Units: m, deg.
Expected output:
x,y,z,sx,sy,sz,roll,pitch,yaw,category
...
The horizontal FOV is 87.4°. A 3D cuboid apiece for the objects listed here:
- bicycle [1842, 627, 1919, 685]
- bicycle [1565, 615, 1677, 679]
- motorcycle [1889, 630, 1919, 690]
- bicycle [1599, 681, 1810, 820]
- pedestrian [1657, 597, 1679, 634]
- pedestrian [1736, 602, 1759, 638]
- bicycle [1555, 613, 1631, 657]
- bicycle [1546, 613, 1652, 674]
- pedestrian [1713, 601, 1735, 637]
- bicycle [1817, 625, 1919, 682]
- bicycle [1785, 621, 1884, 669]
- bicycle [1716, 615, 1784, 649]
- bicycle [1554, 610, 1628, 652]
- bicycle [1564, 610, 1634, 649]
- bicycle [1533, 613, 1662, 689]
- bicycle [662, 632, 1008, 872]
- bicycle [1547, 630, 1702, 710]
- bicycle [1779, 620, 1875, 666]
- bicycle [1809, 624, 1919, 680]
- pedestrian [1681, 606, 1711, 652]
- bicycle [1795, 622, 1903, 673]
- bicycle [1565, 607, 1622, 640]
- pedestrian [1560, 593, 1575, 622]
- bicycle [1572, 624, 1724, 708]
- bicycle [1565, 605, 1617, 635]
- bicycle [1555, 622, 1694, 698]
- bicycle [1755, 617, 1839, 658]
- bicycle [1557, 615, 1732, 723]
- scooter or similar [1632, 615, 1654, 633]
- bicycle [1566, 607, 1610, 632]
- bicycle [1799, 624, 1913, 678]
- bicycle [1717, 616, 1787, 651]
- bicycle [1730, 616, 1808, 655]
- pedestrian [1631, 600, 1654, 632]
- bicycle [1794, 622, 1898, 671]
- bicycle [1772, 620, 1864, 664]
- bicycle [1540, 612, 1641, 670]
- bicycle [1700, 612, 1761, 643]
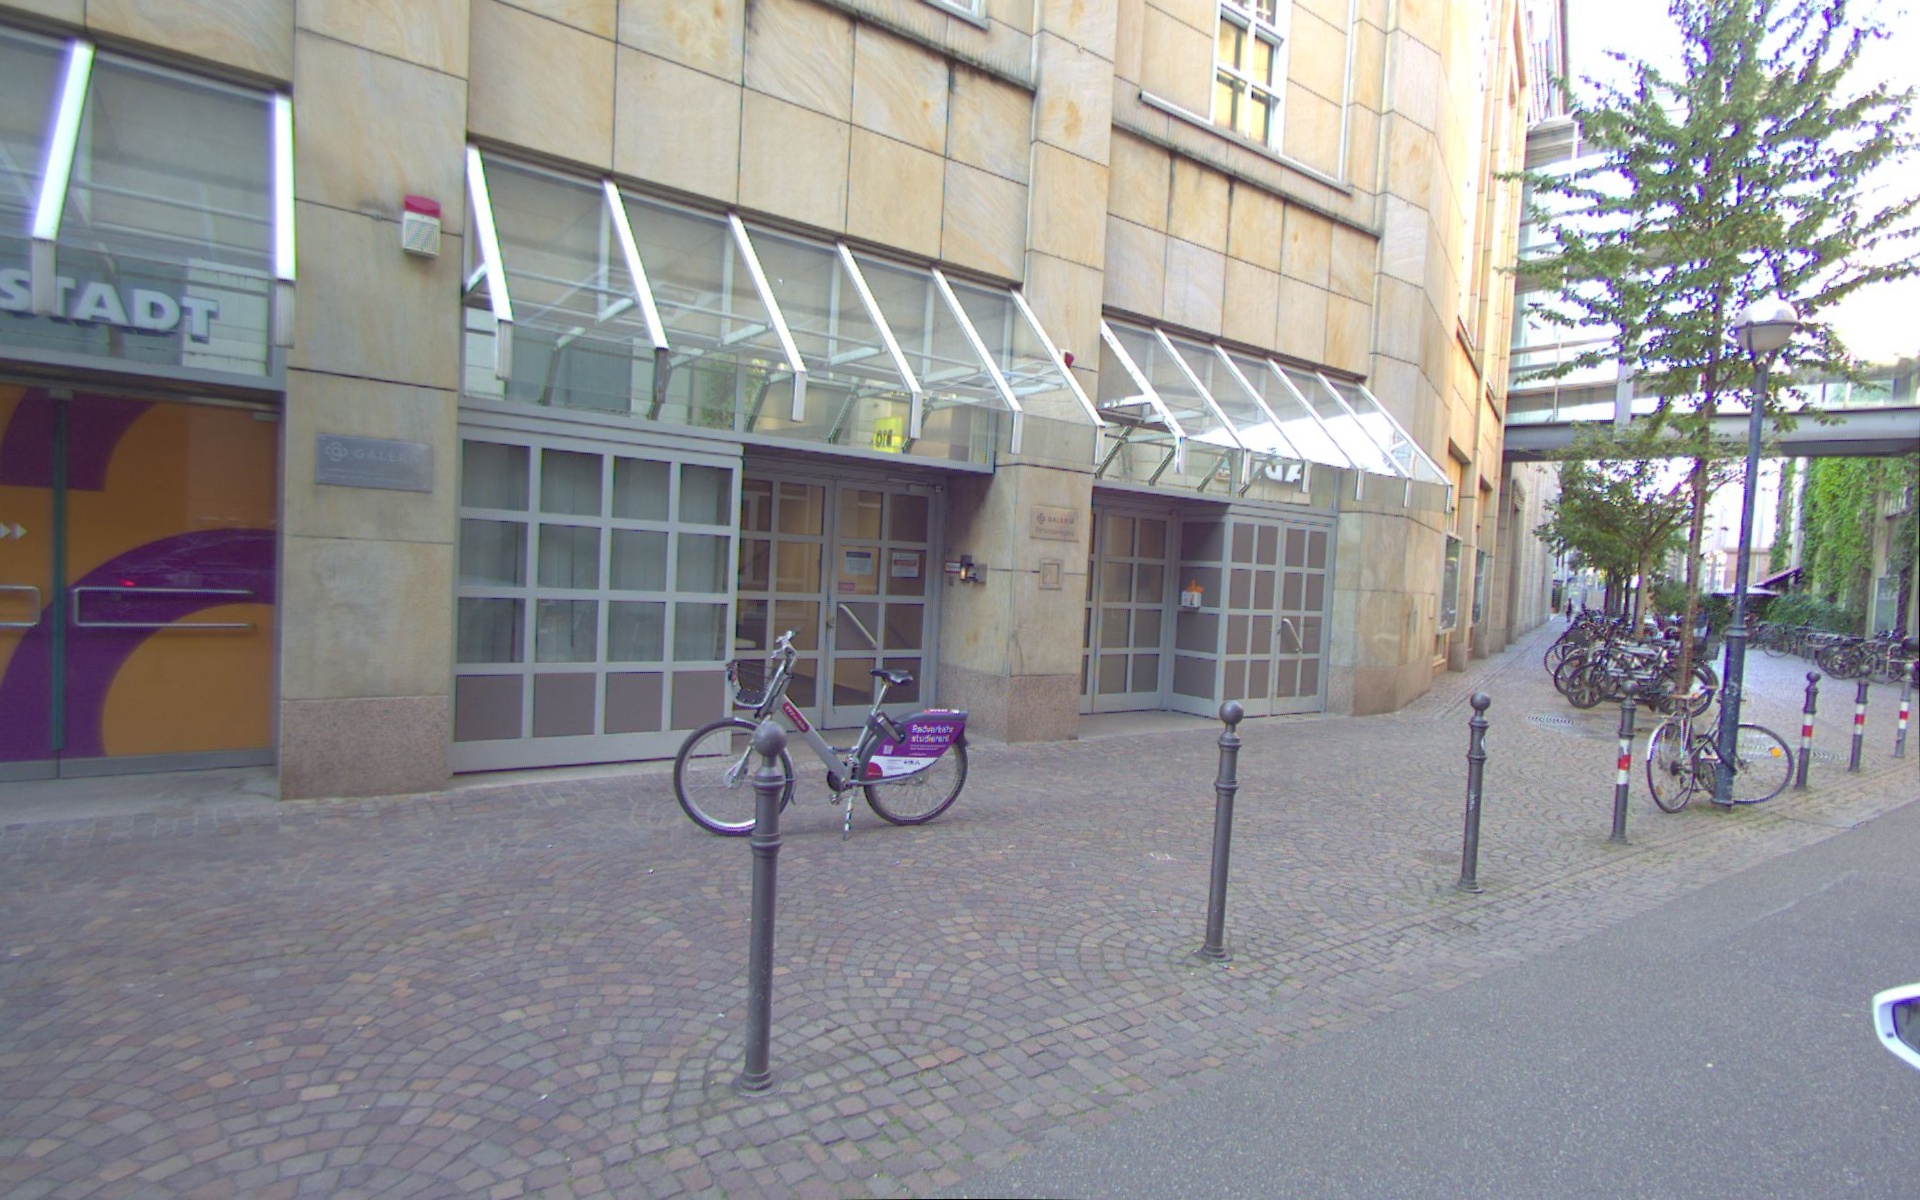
x,y,z,sx,sy,sz,roll,pitch,yaw,category
20.583,1.222,21.872,1.967,1.198,0.694,2,1,35,bicycle
13.994,0.968,21.288,1.889,1.198,0.693,4,2,37,bicycle
19.816,1.224,20.092,1.724,1.171,0.592,2,1,37,motorcycle
5.911,1.156,7.963,1.670,0.979,0.504,2,2,-22,bicycle
36.162,0.796,51.315,0.754,1.828,0.775,3,2,32,pedestrian
40.961,1.045,52.224,0.763,1.828,0.766,3,2,31,pedestrian
19.479,1.065,30.939,1.889,1.198,0.693,4,2,37,bicycle
14.166,0.946,22.305,1.889,1.198,0.693,4,2,37,bicycle
40.346,1.007,53.027,0.763,1.828,0.766,3,2,31,pedestrian
20.891,1.206,22.904,1.967,1.198,0.694,2,1,35,bicycle
23.989,1.223,27.606,1.967,1.198,0.692,2,1,35,bicycle
30.027,1.217,38.198,1.967,1.198,0.692,2,1,35,bicycle
19.913,0.964,31.710,1.889,1.198,0.693,4,2,37,bicycle
21.673,0.990,34.082,1.889,1.198,0.693,4,2,37,bicycle
11.612,0.901,18.331,1.889,1.198,0.693,4,2,37,bicycle
-0.690,0.778,5.525,1.750,1.127,0.692,2,2,-22,bicycle
10.094,1.040,15.331,1.887,1.007,0.694,4,2,34,bicycle
24.744,1.207,28.714,1.967,1.198,0.692,2,1,35,bicycle
21.393,1.204,23.704,1.967,1.198,0.800,2,1,35,bicycle
25.637,0.993,35.001,0.737,1.529,0.636,3,2,32,pedestrian
22.926,1.209,25.966,1.967,1.198,0.800,2,1,35,bicycle
26.061,0.950,41.338,1.889,1.198,0.693,4,2,37,bicycle
39.802,0.470,65.793,0.763,1.828,0.633,3,2,31,pedestrian
10.824,1.011,15.876,1.887,1.116,0.694,4,2,34,bicycle
28.198,0.885,44.888,1.889,1.198,0.693,4,2,37,bicycle
11.340,0.995,17.176,1.889,1.116,0.693,4,2,37,bicycle
26.594,1.188,31.974,1.967,1.198,0.692,2,1,35,bicycle
9.409,0.910,13.886,1.887,1.278,0.806,4,2,34,bicycle
35.355,1.249,52.003,0.879,0.854,0.909,3,2,32,scooter or similar
33.683,1.030,53.892,1.889,1.198,0.693,4,2,37,bicycle
22.028,1.225,24.745,1.967,1.198,0.800,2,1,35,bicycle
29.544,1.228,37.493,1.967,1.198,0.692,2,1,35,bicycle
27.351,1.186,34.009,1.967,1.198,0.692,2,1,35,bicycle
35.850,0.838,52.771,0.879,1.661,0.909,3,2,32,pedestrian
23.557,1.225,26.765,1.967,1.198,0.692,2,1,35,bicycle
25.336,1.232,29.715,1.967,1.198,0.692,2,1,35,bicycle
14.664,0.934,23.385,1.889,1.198,0.693,4,2,37,bicycle
32.490,1.141,42.399,1.967,1.198,0.692,2,1,35,bicycle
